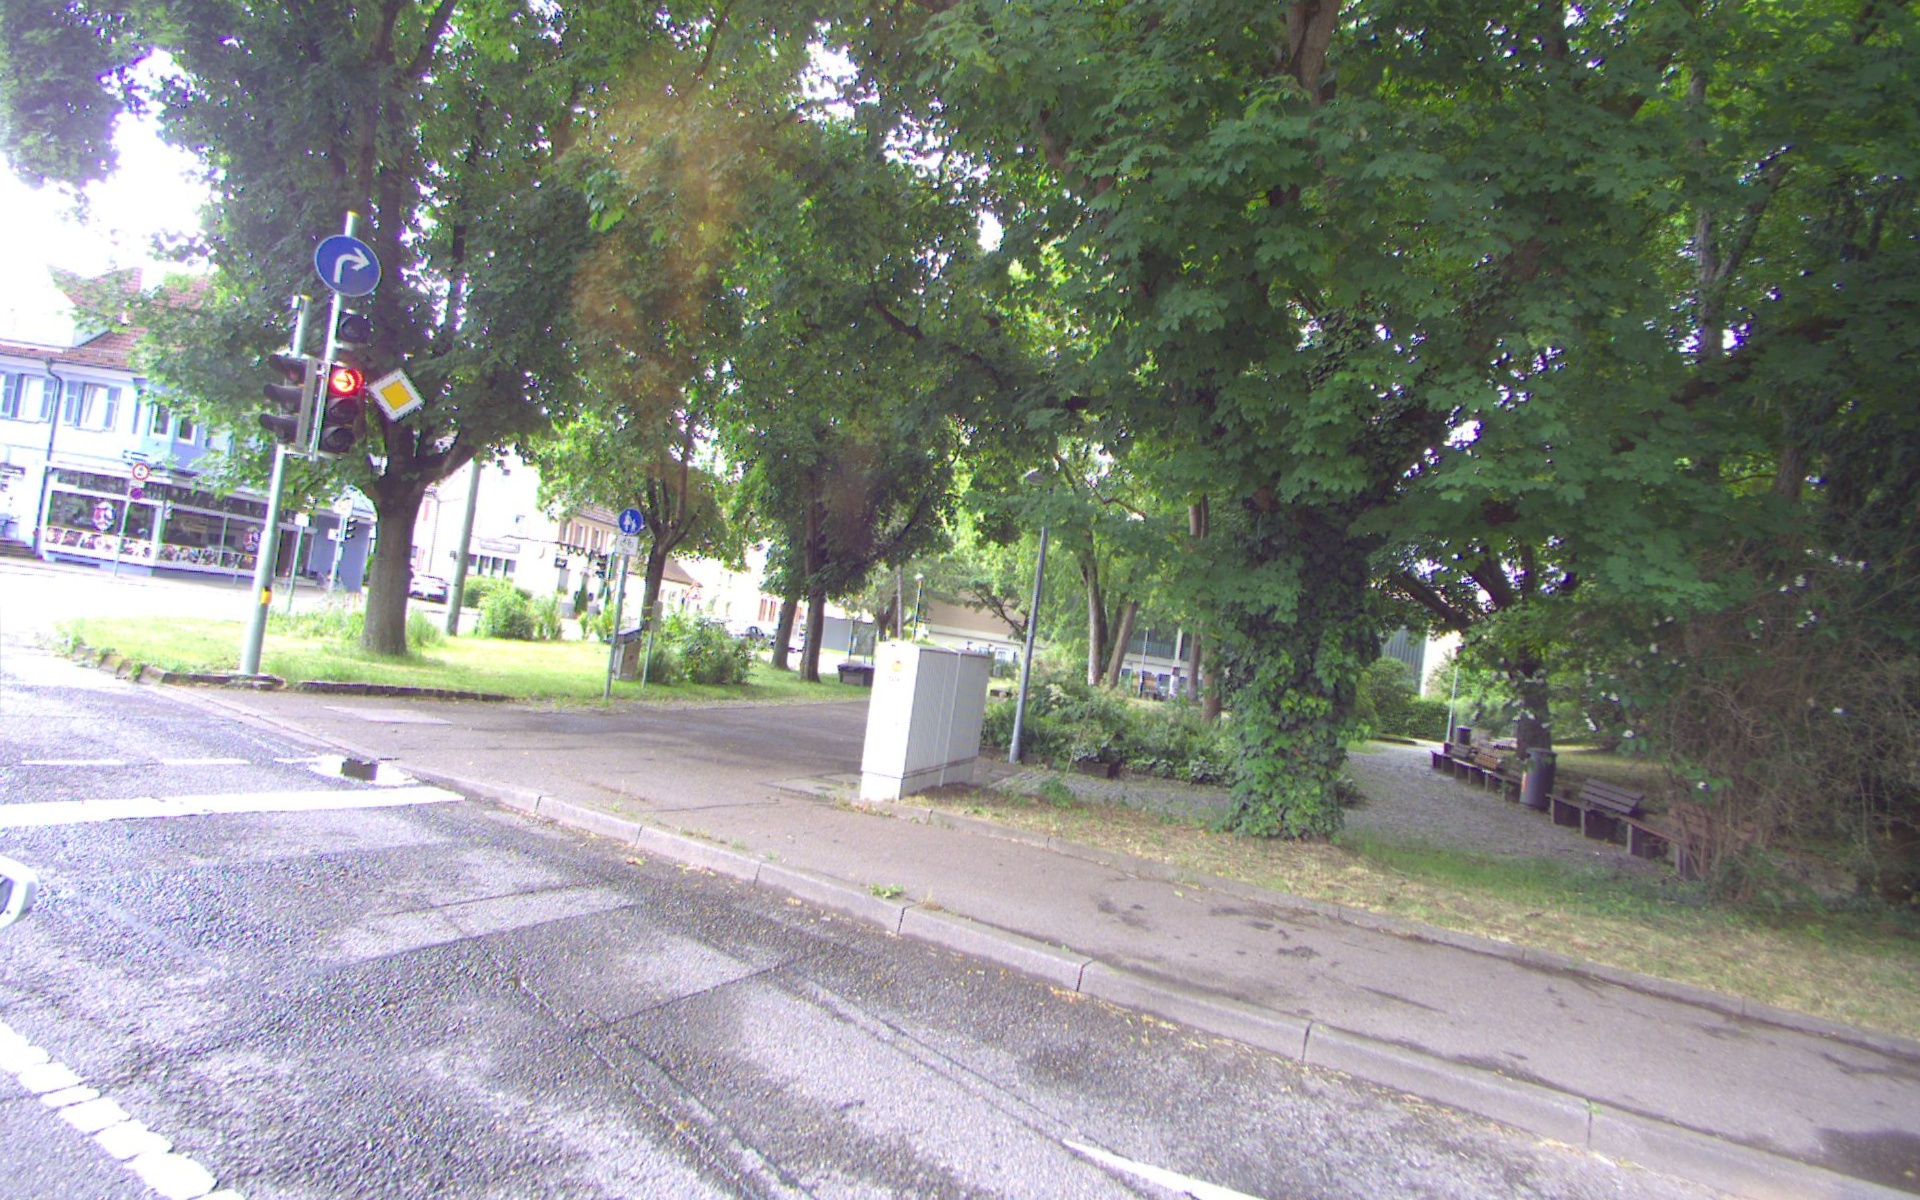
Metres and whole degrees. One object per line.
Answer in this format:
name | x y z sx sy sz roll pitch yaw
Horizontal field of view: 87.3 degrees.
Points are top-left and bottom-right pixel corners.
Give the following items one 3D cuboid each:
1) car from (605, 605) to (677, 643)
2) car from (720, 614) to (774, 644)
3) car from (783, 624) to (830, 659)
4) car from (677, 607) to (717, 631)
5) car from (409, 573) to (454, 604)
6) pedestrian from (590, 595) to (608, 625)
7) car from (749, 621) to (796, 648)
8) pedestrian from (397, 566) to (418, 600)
car | -14.008 1.091 44.362 1.530 1.336 3.514 7 -2 9
car | -11.567 1.598 54.827 1.530 1.336 3.514 7 -2 9
car | -10.055 2.760 66.180 1.750 2.037 4.005 7 -2 7
car | -19.370 1.444 74.254 1.528 1.436 4.005 7 -2 4
car | -27.869 -0.602 53.149 1.479 1.384 3.166 8 -2 -19
pedestrian | -21.617 0.595 60.280 0.600 1.668 0.610 7 -1 3
car | -11.166 2.072 60.111 1.530 1.336 3.514 7 -2 8
pedestrian | -26.422 -0.800 48.119 0.577 1.535 0.459 7 -1 -8
